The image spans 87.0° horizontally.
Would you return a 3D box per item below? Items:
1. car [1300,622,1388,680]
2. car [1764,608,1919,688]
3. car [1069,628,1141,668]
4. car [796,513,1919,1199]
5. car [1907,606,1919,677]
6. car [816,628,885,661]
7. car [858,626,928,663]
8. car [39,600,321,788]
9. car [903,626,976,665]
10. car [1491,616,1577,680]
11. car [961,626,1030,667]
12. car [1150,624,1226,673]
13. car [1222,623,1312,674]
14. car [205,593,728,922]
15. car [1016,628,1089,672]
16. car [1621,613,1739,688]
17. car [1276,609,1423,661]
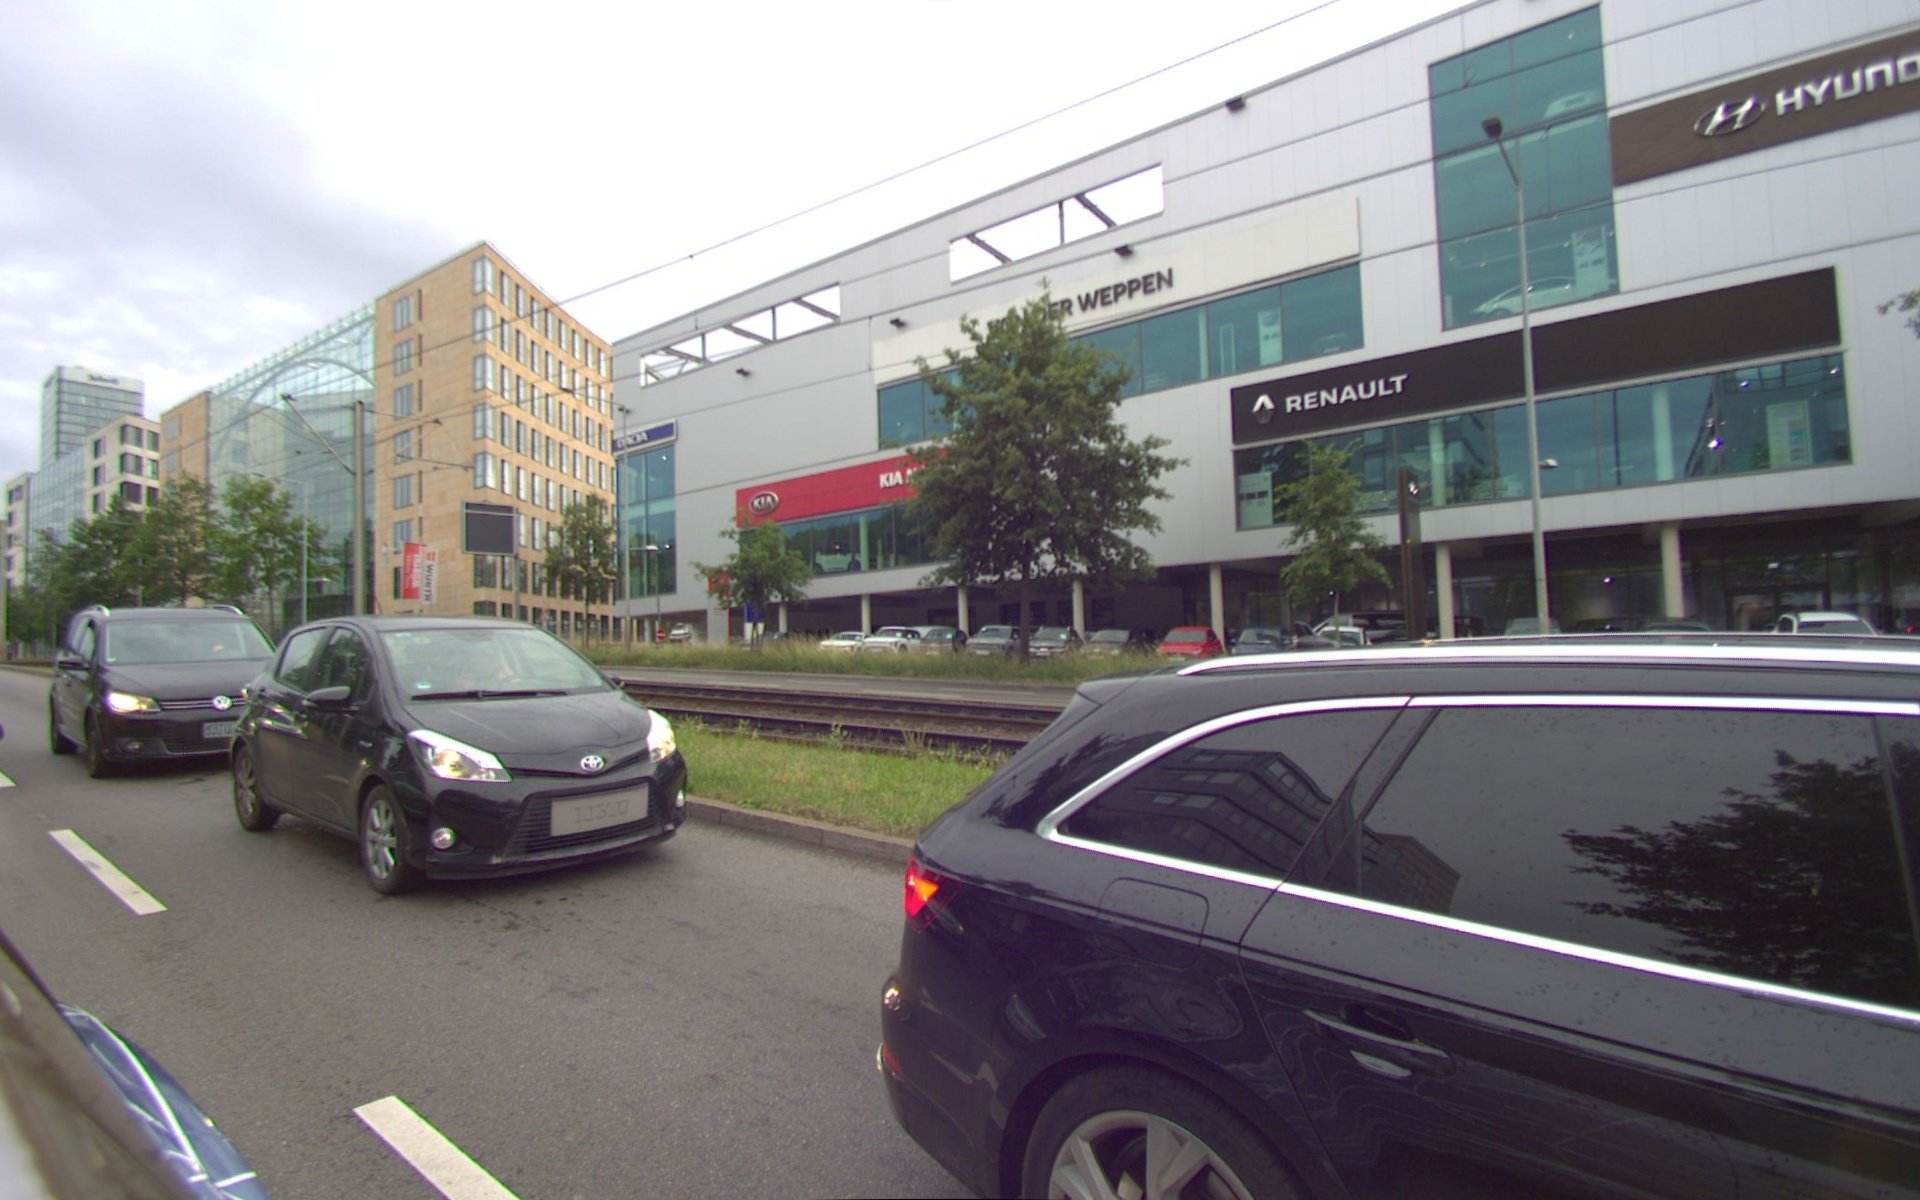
[{"bbox_3d":[11.954,1.519,31.347,1.914,1.470,4.005,-1,1,30],"label":"car"},{"bbox_3d":[20.599,1.053,23.810,1.992,1.562,4.331,-1,1,30],"label":"car"},{"bbox_3d":[5.250,1.689,36.324,1.688,1.190,3.498,-2,1,24],"label":"car"},{"bbox_3d":[1.896,0.641,1.511,4.511,1.478,1.762,-2,-2,41],"label":"car"},{"bbox_3d":[22.824,1.013,22.225,1.992,1.627,4.331,-1,1,30],"label":"car"},{"bbox_3d":[-4.781,1.943,44.639,1.685,1.196,3.643,-2,1,18],"label":"car"},{"bbox_3d":[-2.791,1.873,42.963,1.685,1.304,3.643,-2,1,18],"label":"car"},{"bbox_3d":[-8.475,0.854,10.849,4.318,1.619,1.762,-2,-1,44],"label":"car"},{"bbox_3d":[-0.784,1.817,41.032,1.688,1.362,3.499,-2,1,23],"label":"car"},{"bbox_3d":[15.861,1.276,27.972,1.925,1.470,3.981,-1,1,30],"label":"car"},{"bbox_3d":[1.442,1.795,39.691,1.686,1.362,3.503,-2,1,20],"label":"car"},{"bbox_3d":[7.817,1.619,34.447,1.789,1.362,3.903,-2,1,24],"label":"car"},{"bbox_3d":[10.080,1.544,33.043,1.914,1.362,4.005,-1,1,30],"label":"car"},{"bbox_3d":[-3.387,0.781,6.640,3.823,1.544,1.683,-1,-1,40],"label":"car"},{"bbox_3d":[3.502,1.841,37.784,1.688,1.362,3.498,-2,1,24],"label":"car"},{"bbox_3d":[18.061,1.199,25.586,1.992,1.562,4.331,-1,1,30],"label":"car"},{"bbox_3d":[13.961,1.256,36.499,4.488,1.796,1.997,-1,-1,5],"label":"car"}]
